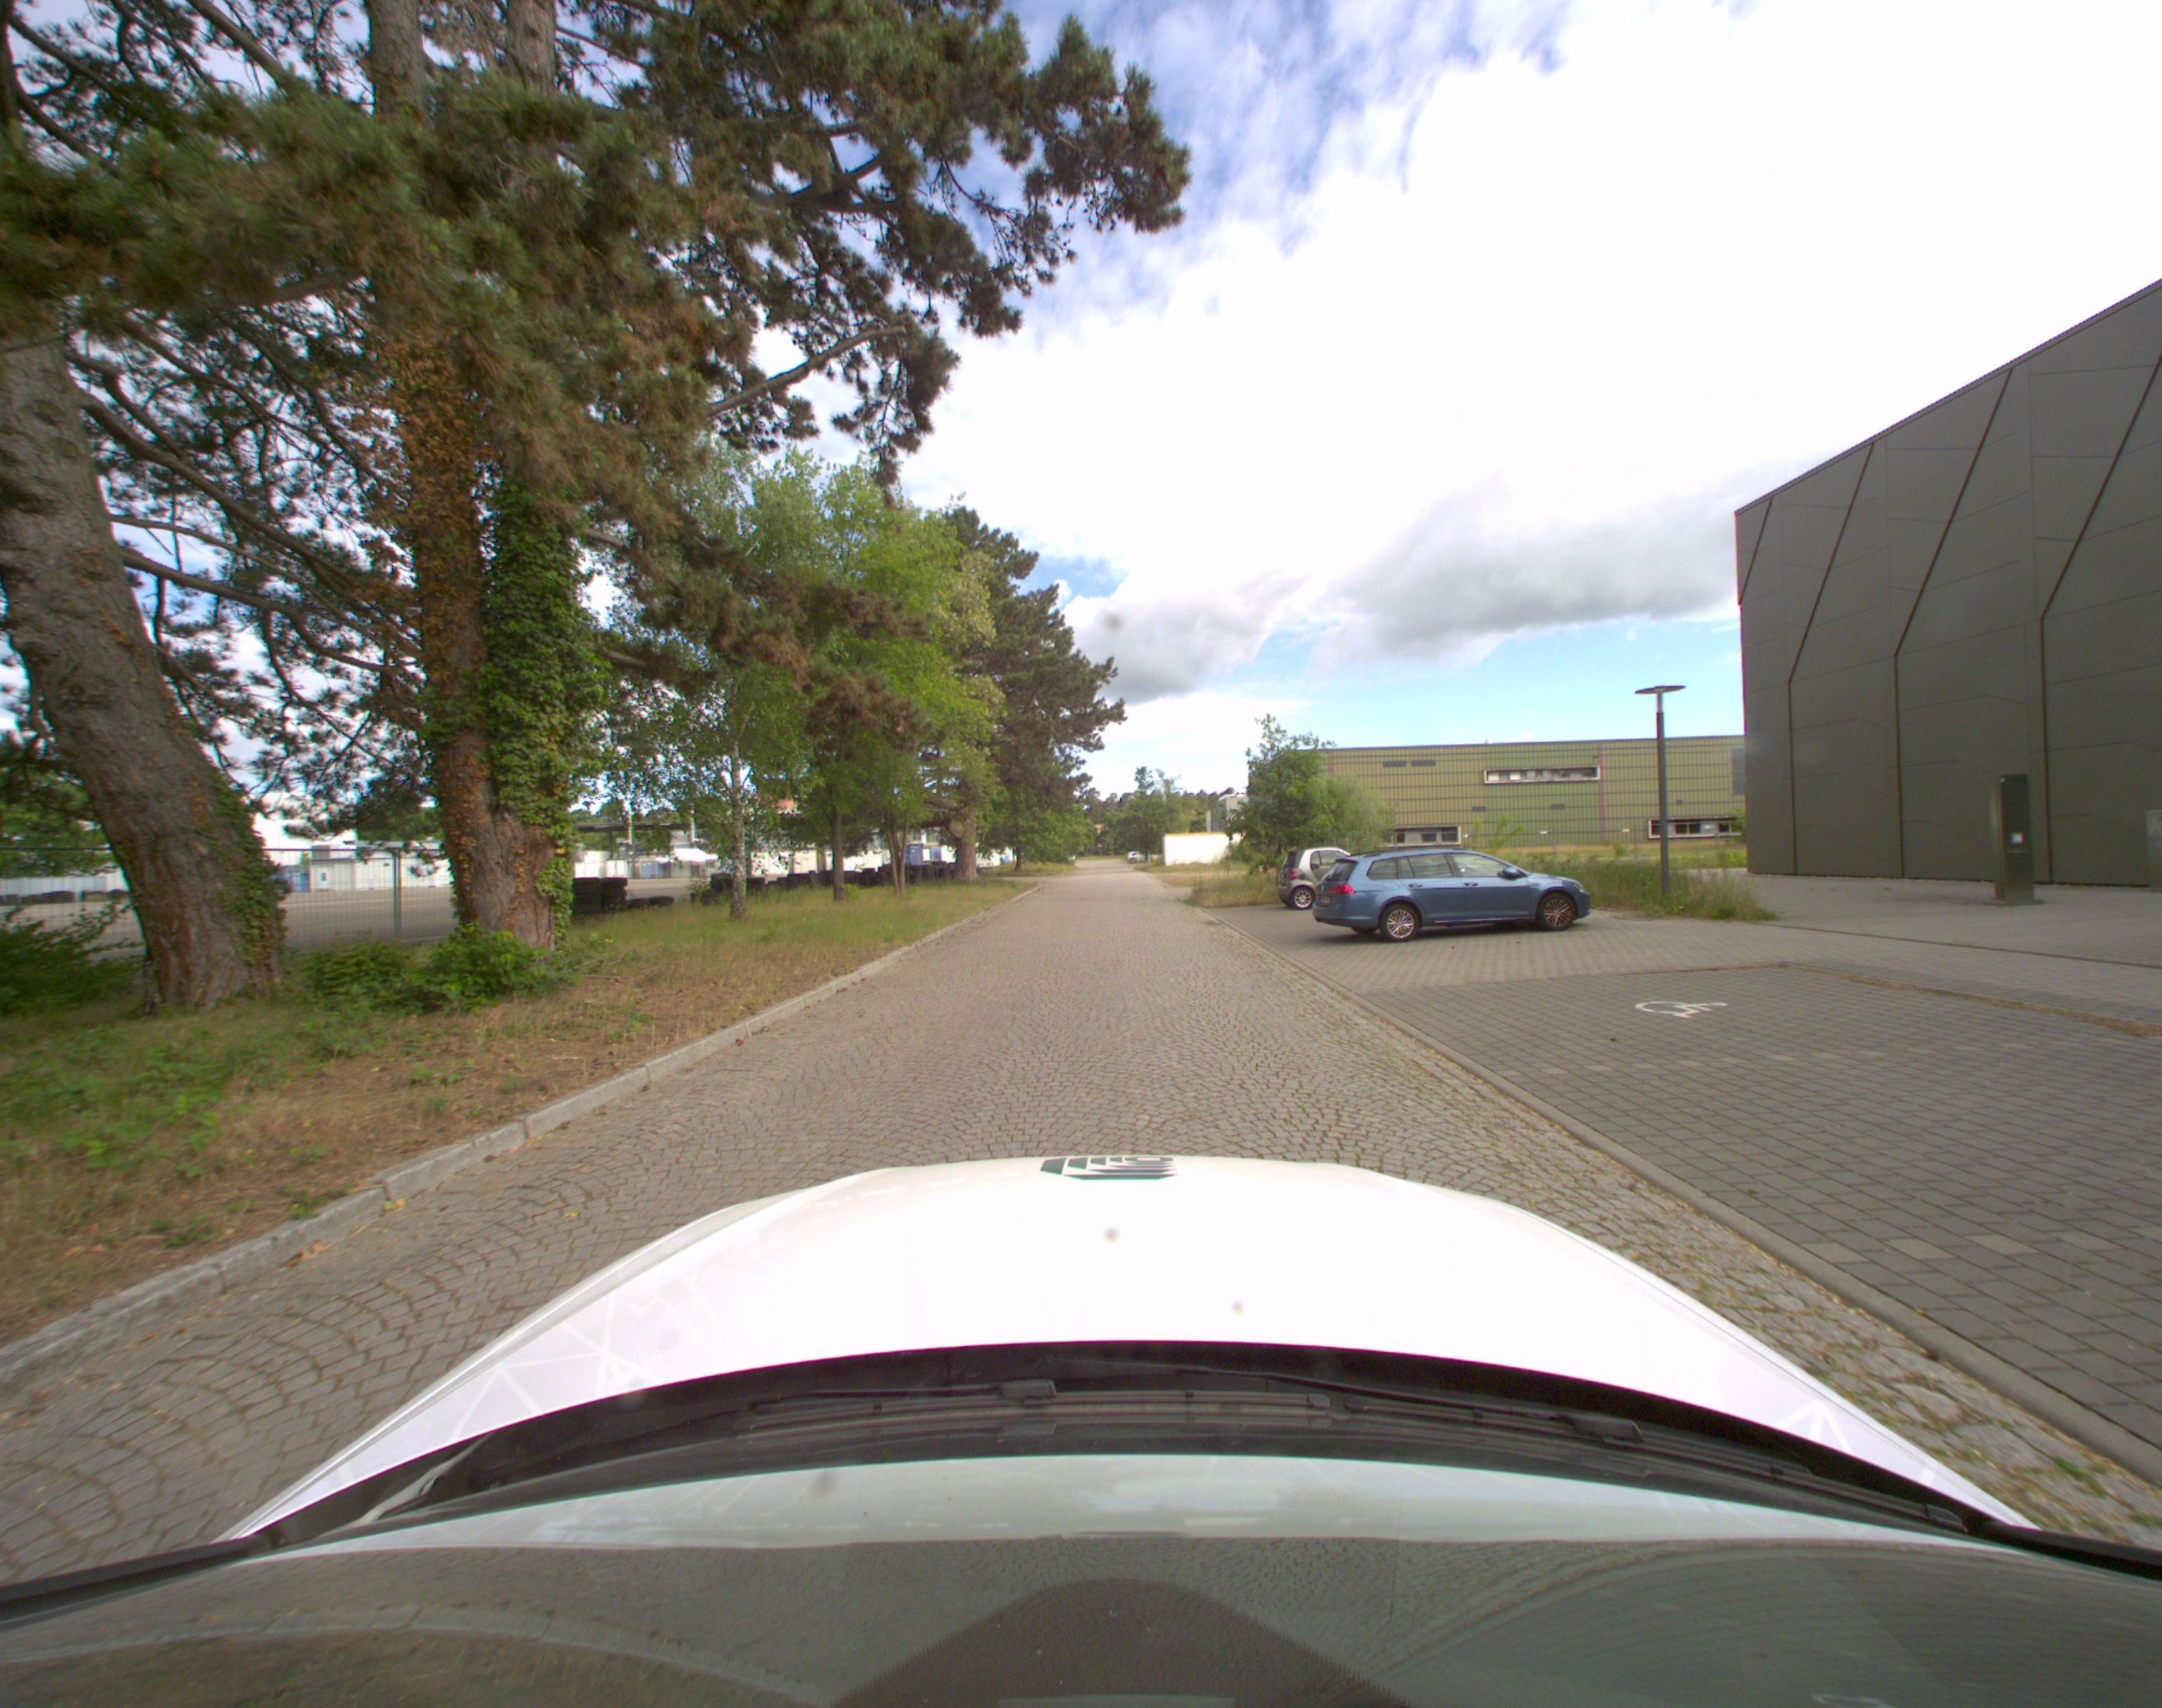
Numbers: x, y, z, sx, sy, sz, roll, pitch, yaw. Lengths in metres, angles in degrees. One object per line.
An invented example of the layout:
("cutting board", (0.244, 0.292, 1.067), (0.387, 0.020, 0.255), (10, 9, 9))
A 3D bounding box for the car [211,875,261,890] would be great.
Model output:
("car", (-100.233, 3.414, 96.632), (4.088, 1.633, 1.832), (-2, 0, 2))

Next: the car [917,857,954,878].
("car", (-11.246, 1.032, 63.305), (1.616, 1.433, 4.072), (-2, 0, 7))

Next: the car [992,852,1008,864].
("car", (-14.051, 0.661, 141.247), (1.986, 2.013, 4.770), (-2, 0, 2))

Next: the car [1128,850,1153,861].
("car", (9.690, 0.210, 133.869), (3.969, 1.448, 1.654), (-4, 0, 2))

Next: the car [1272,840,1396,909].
("car", (6.554, 0.513, 21.345), (2.699, 1.556, 1.655), (-4, 0, 2))

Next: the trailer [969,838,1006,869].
("trailer", (-11.544, -0.108, 101.483), (2.614, 3.598, 10.188), (-2, 0, 4))

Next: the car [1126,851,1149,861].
("car", (9.064, 0.336, 131.186), (3.509, 1.362, 1.623), (-4, 0, 2))

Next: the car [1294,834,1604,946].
("car", (6.178, 0.577, 14.036), (4.478, 1.475, 1.830), (-4, 0, -1))
